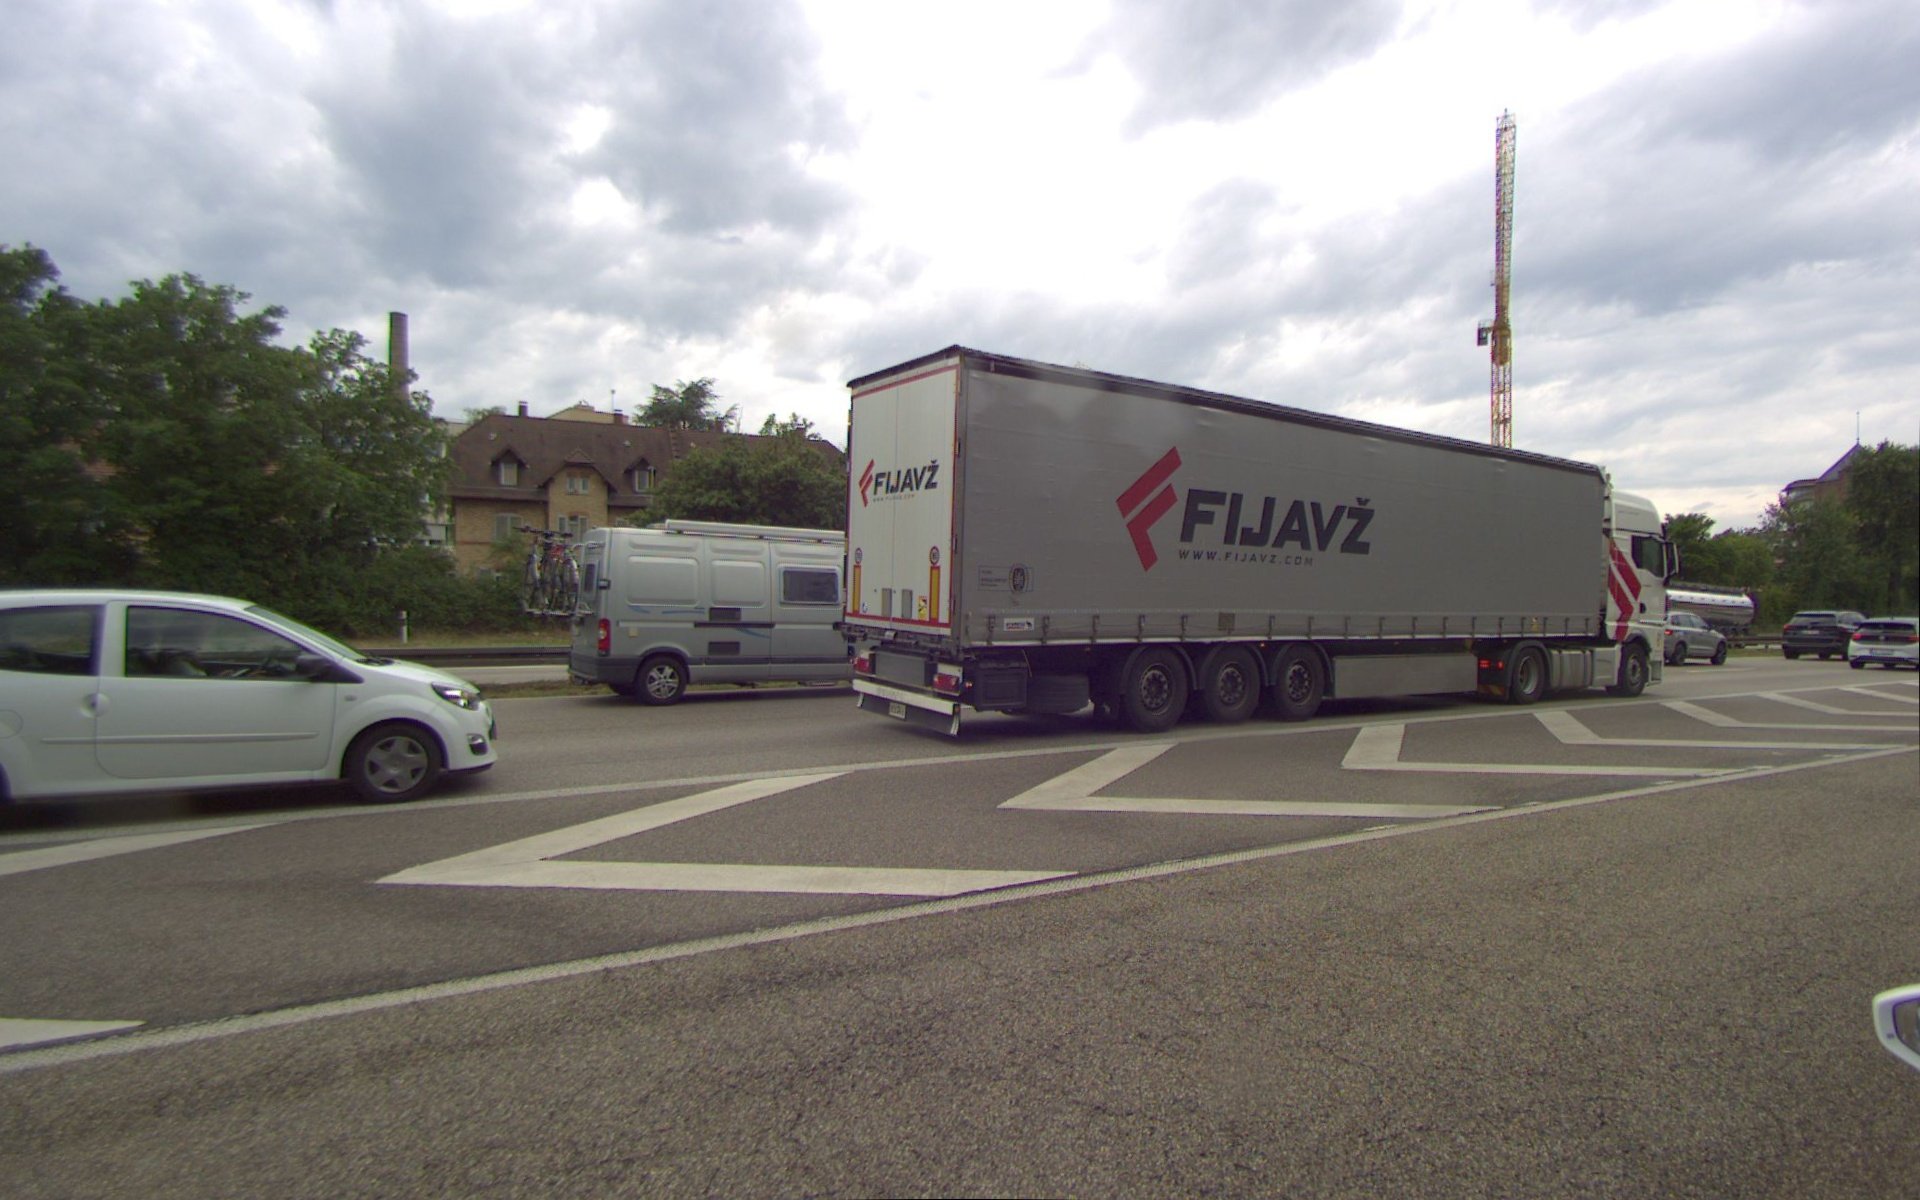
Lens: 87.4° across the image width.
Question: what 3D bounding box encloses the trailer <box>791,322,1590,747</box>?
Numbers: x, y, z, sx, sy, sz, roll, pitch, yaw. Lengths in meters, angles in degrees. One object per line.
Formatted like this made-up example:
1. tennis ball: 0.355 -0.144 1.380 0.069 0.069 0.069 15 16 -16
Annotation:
1. trailer: 4.237 -0.484 14.646 12.959 4.090 3.279 2 0 -34

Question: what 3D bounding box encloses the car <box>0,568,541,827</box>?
1. car: -5.223 0.584 7.064 3.994 1.510 1.568 1 -1 -34

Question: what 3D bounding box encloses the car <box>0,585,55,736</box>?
1. car: -11.709 0.528 9.318 4.651 1.467 1.703 2 0 -33

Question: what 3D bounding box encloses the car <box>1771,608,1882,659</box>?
1. car: 31.503 1.222 36.513 3.954 1.739 1.865 2 0 -31

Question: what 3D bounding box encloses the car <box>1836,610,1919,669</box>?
1. car: 28.197 1.176 30.127 4.211 1.625 1.790 2 0 -33

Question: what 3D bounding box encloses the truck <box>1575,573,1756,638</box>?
1. truck: 38.736 0.407 54.806 14.517 3.124 3.045 2 0 -34

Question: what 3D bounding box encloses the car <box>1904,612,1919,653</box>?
1. car: 42.677 1.452 43.481 3.956 1.739 1.707 2 0 -33

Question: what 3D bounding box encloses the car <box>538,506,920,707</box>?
1. car: -3.385 0.126 15.268 5.306 2.587 1.981 1 -1 -34

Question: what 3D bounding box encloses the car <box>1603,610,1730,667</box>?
1. car: 21.523 1.122 30.582 3.881 1.623 1.721 1 0 -30

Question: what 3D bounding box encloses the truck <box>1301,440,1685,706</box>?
1. truck: 9.872 -0.338 18.400 6.999 4.000 3.180 2 0 -33
